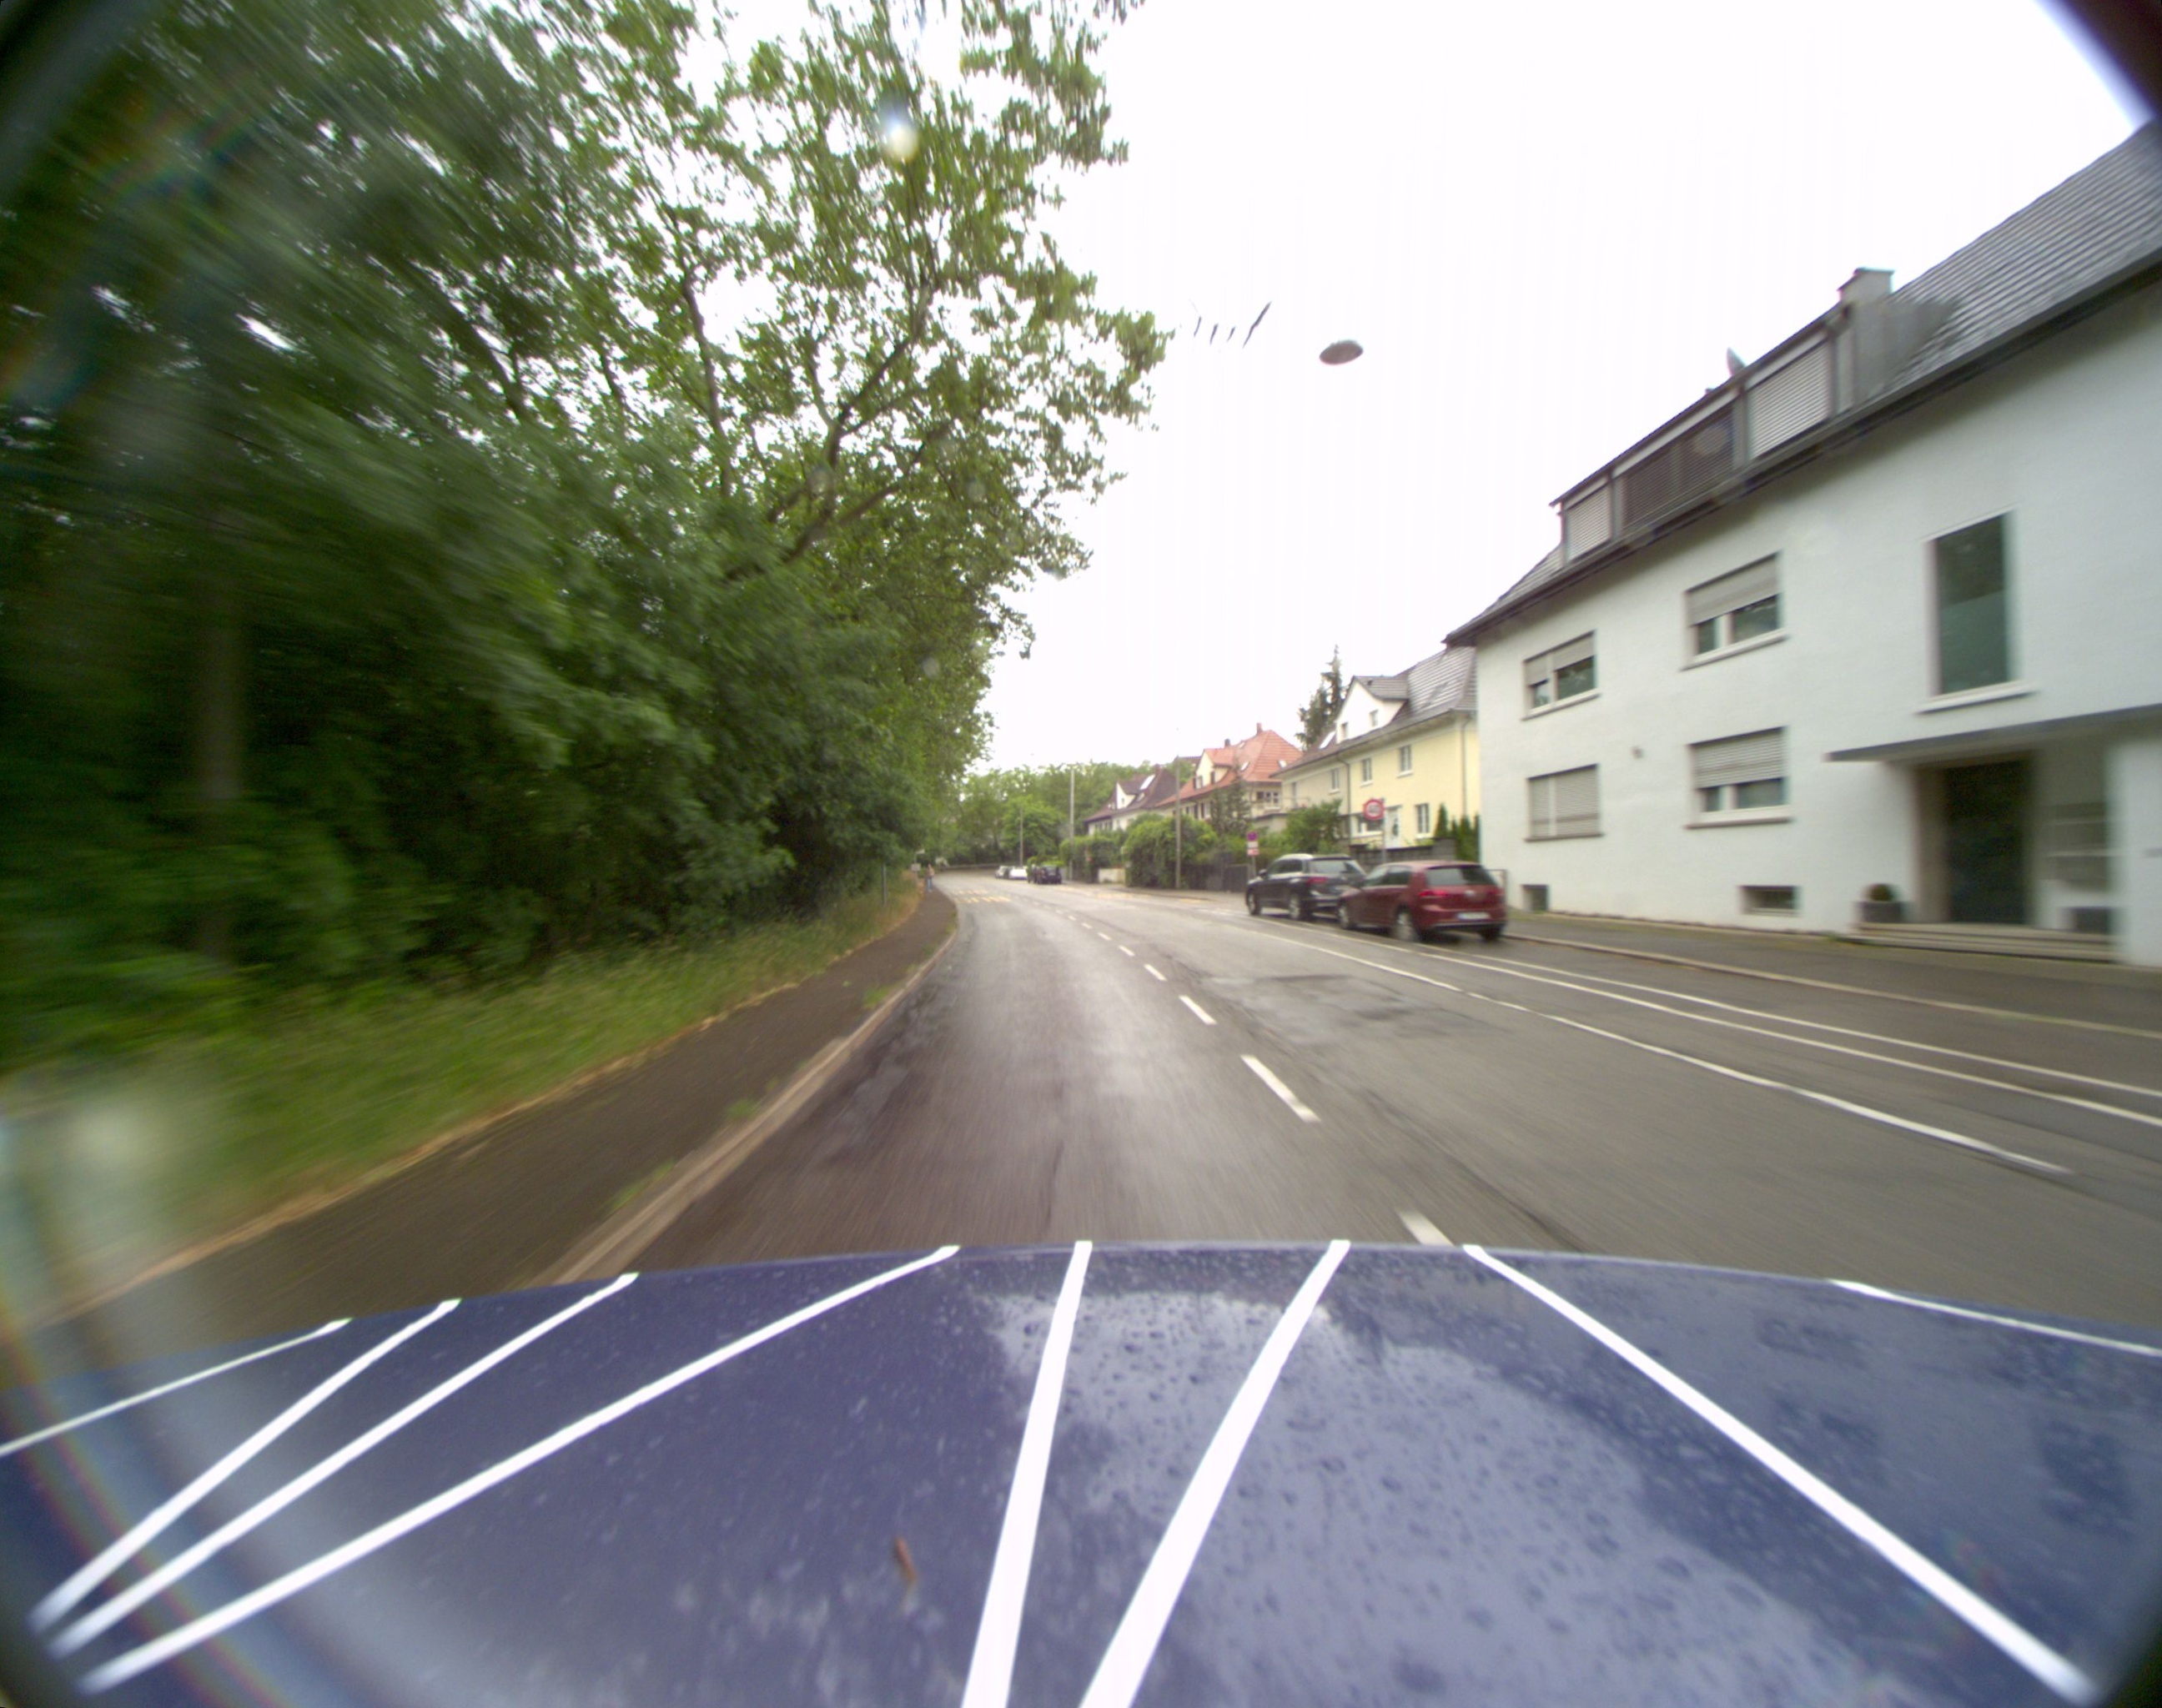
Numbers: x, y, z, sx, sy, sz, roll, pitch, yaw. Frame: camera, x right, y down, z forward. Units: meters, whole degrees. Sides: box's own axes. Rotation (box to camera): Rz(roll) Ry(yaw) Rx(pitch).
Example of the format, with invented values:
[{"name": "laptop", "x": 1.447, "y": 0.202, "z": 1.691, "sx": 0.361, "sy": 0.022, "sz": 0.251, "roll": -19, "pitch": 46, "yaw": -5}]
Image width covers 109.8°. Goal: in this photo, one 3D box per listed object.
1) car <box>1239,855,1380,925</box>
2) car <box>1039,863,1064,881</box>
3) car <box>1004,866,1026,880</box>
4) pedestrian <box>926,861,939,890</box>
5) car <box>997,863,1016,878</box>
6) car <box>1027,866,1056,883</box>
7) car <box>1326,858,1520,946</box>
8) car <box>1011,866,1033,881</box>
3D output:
[{"name": "car", "x": 5.852, "y": 0.890, "z": 20.099, "sx": 1.760, "sy": 1.648, "sz": 4.401, "roll": 0, "pitch": -1, "yaw": -10}, {"name": "car", "x": -2.404, "y": 1.441, "z": 61.353, "sx": 1.524, "sy": 1.445, "sz": 3.027, "roll": 0, "pitch": -1, "yaw": -12}, {"name": "car", "x": -7.369, "y": 2.120, "z": 84.685, "sx": 1.704, "sy": 1.515, "sz": 4.418, "roll": -1, "pitch": 0, "yaw": -14}, {"name": "pedestrian", "x": -8.449, "y": 1.214, "z": 43.191, "sx": 0.644, "sy": 1.602, "sz": 0.669, "roll": -1, "pitch": 1, "yaw": -13}, {"name": "car", "x": -8.907, "y": 1.933, "z": 90.374, "sx": 1.738, "sy": 1.414, "sz": 4.278, "roll": -5, "pitch": 2, "yaw": -11}, {"name": "car", "x": -3.459, "y": 1.789, "z": 65.696, "sx": 1.694, "sy": 1.409, "sz": 4.210, "roll": 0, "pitch": -1, "yaw": -15}, {"name": "car", "x": 6.457, "y": 0.852, "z": 14.941, "sx": 1.621, "sy": 1.432, "sz": 4.229, "roll": -2, "pitch": -1, "yaw": -4}, {"name": "car", "x": -6.310, "y": 2.021, "z": 80.436, "sx": 1.704, "sy": 1.459, "sz": 3.707, "roll": -1, "pitch": 0, "yaw": -14}]
